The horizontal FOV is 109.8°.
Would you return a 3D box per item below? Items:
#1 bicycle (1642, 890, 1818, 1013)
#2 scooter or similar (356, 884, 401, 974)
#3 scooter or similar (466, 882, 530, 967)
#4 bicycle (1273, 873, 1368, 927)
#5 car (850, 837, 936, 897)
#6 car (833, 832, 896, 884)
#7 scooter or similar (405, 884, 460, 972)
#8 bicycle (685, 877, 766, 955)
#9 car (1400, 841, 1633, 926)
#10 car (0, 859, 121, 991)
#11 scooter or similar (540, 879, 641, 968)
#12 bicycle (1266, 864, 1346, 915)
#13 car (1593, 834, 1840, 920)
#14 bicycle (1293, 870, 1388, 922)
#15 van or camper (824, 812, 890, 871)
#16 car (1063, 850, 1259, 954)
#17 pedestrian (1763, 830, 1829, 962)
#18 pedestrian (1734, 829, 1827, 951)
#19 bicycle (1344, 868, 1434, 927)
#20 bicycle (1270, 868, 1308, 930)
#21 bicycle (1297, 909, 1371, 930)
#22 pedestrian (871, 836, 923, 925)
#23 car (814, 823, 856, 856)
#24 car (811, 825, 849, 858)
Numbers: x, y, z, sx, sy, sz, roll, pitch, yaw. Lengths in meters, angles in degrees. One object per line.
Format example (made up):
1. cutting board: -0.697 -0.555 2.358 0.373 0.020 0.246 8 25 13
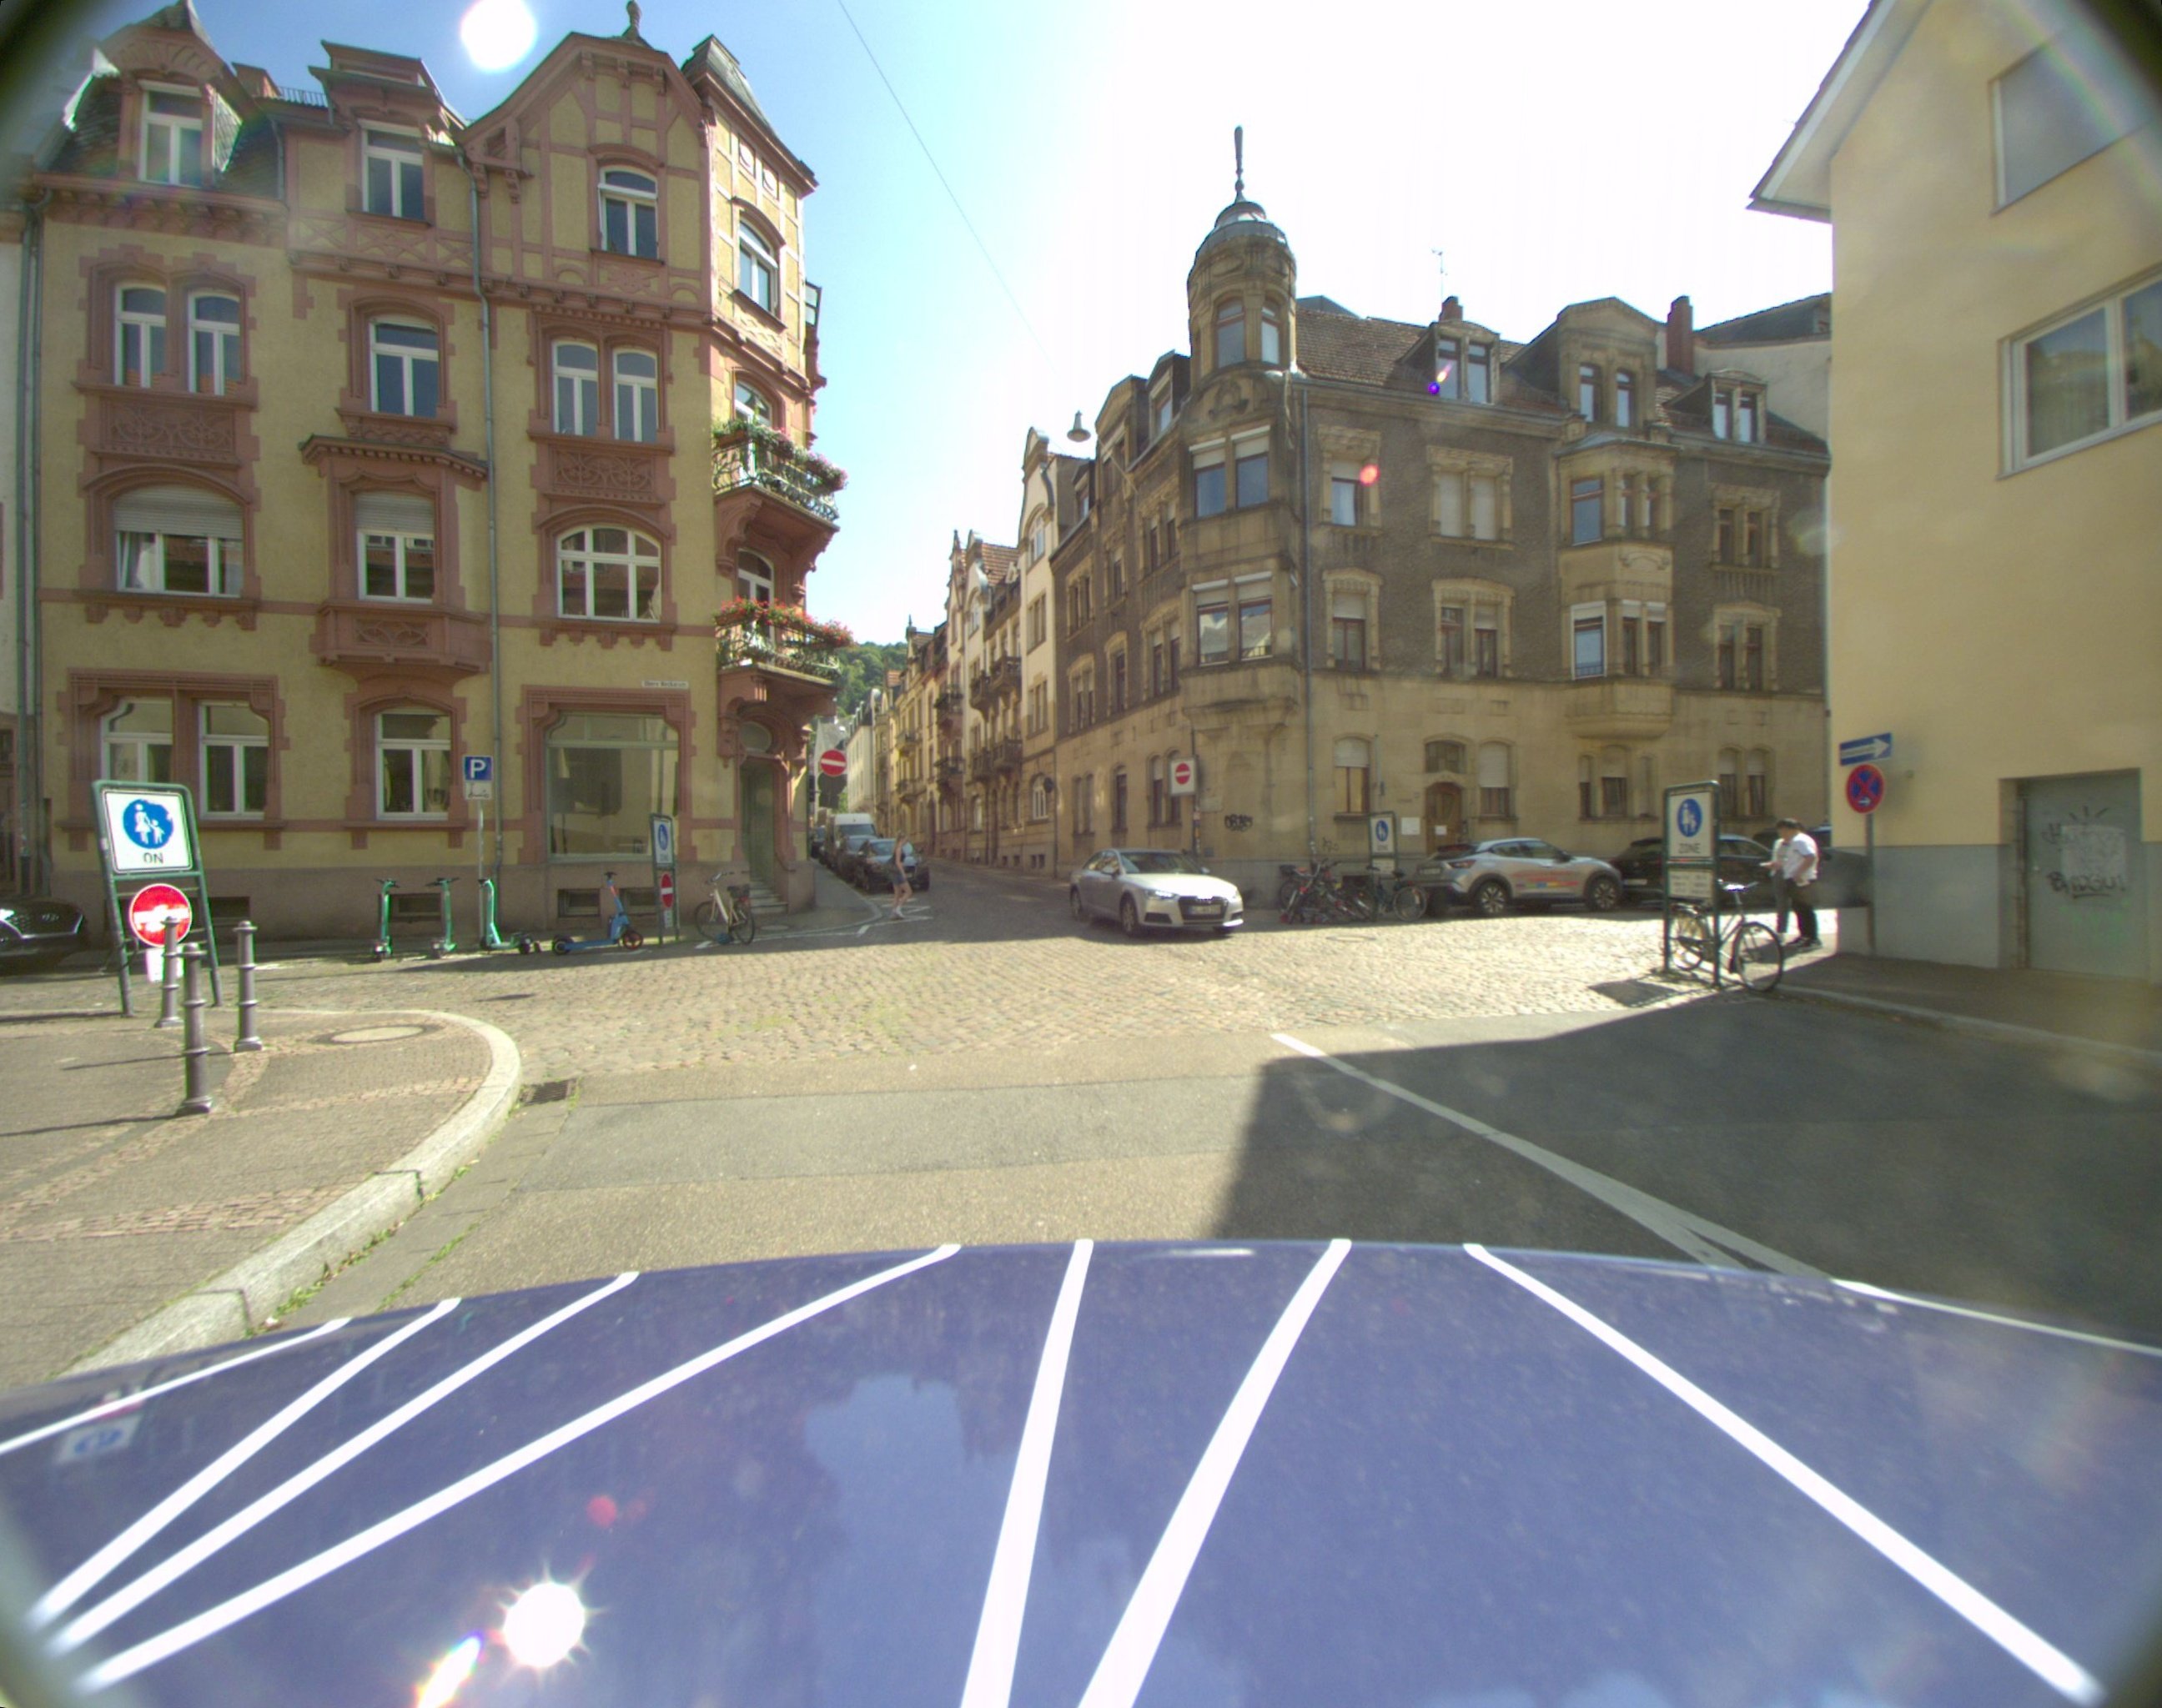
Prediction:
1. bicycle: 6.877 0.973 8.185 0.391 1.073 1.910 -1 0 5
2. scooter or similar: -10.227 1.067 11.083 0.343 1.202 1.187 -1 1 -37
3. scooter or similar: -8.818 1.039 11.488 1.187 1.202 0.343 0 1 31
4. bicycle: 4.694 0.891 15.025 0.285 1.082 1.639 -48 18 -16
5. car: -5.903 0.312 23.549 1.864 1.574 4.250 -3 3 -23
6. car: -8.151 0.059 28.421 1.763 1.697 3.991 -4 3 -22
7. scooter or similar: -9.676 1.071 11.357 0.413 1.202 1.232 -1 1 -32
8. bicycle: -5.843 0.978 12.441 1.788 1.140 0.506 1 1 41
9. car: 8.807 0.535 15.487 3.930 1.535 1.850 -1 1 -13
10. car: -15.679 0.936 9.564 4.002 1.633 1.997 -1 1 -15
11. scooter or similar: -7.266 1.007 11.303 1.192 1.228 0.441 -1 1 -26
12. bicycle: 5.054 0.785 17.078 1.643 1.080 0.495 0 5 -13
13. car: 13.188 0.434 15.855 4.001 1.535 1.851 -2 0 -12
14. bicycle: 5.155 0.815 15.209 0.285 1.082 1.639 -48 18 -16
15. van or camper: -10.548 -0.667 35.411 2.229 2.506 6.752 -1 3 -23
16. car: 1.177 0.694 13.359 1.878 1.483 4.376 -1 0 -17
17. pedestrian: 9.149 0.512 9.722 0.658 1.609 0.491 -2 2 -35
18. pedestrian: 9.622 0.475 10.465 0.757 1.609 0.689 -1 1 -22
19. bicycle: 5.911 0.841 14.669 0.286 1.079 1.638 1 -3 -40
20. bicycle: 4.060 0.850 14.897 0.285 1.079 1.642 -4 1 2
21. bicycle: 4.846 1.259 14.662 1.077 0.286 1.124 -1 0 2
22. pedestrian: -3.789 0.534 15.680 0.981 1.749 0.622 -2 4 -13
23. car: -14.908 -0.859 45.863 2.002 1.905 3.992 -1 0 -24
24. car: -16.895 -0.832 51.041 2.002 2.133 3.992 -1 1 -24
